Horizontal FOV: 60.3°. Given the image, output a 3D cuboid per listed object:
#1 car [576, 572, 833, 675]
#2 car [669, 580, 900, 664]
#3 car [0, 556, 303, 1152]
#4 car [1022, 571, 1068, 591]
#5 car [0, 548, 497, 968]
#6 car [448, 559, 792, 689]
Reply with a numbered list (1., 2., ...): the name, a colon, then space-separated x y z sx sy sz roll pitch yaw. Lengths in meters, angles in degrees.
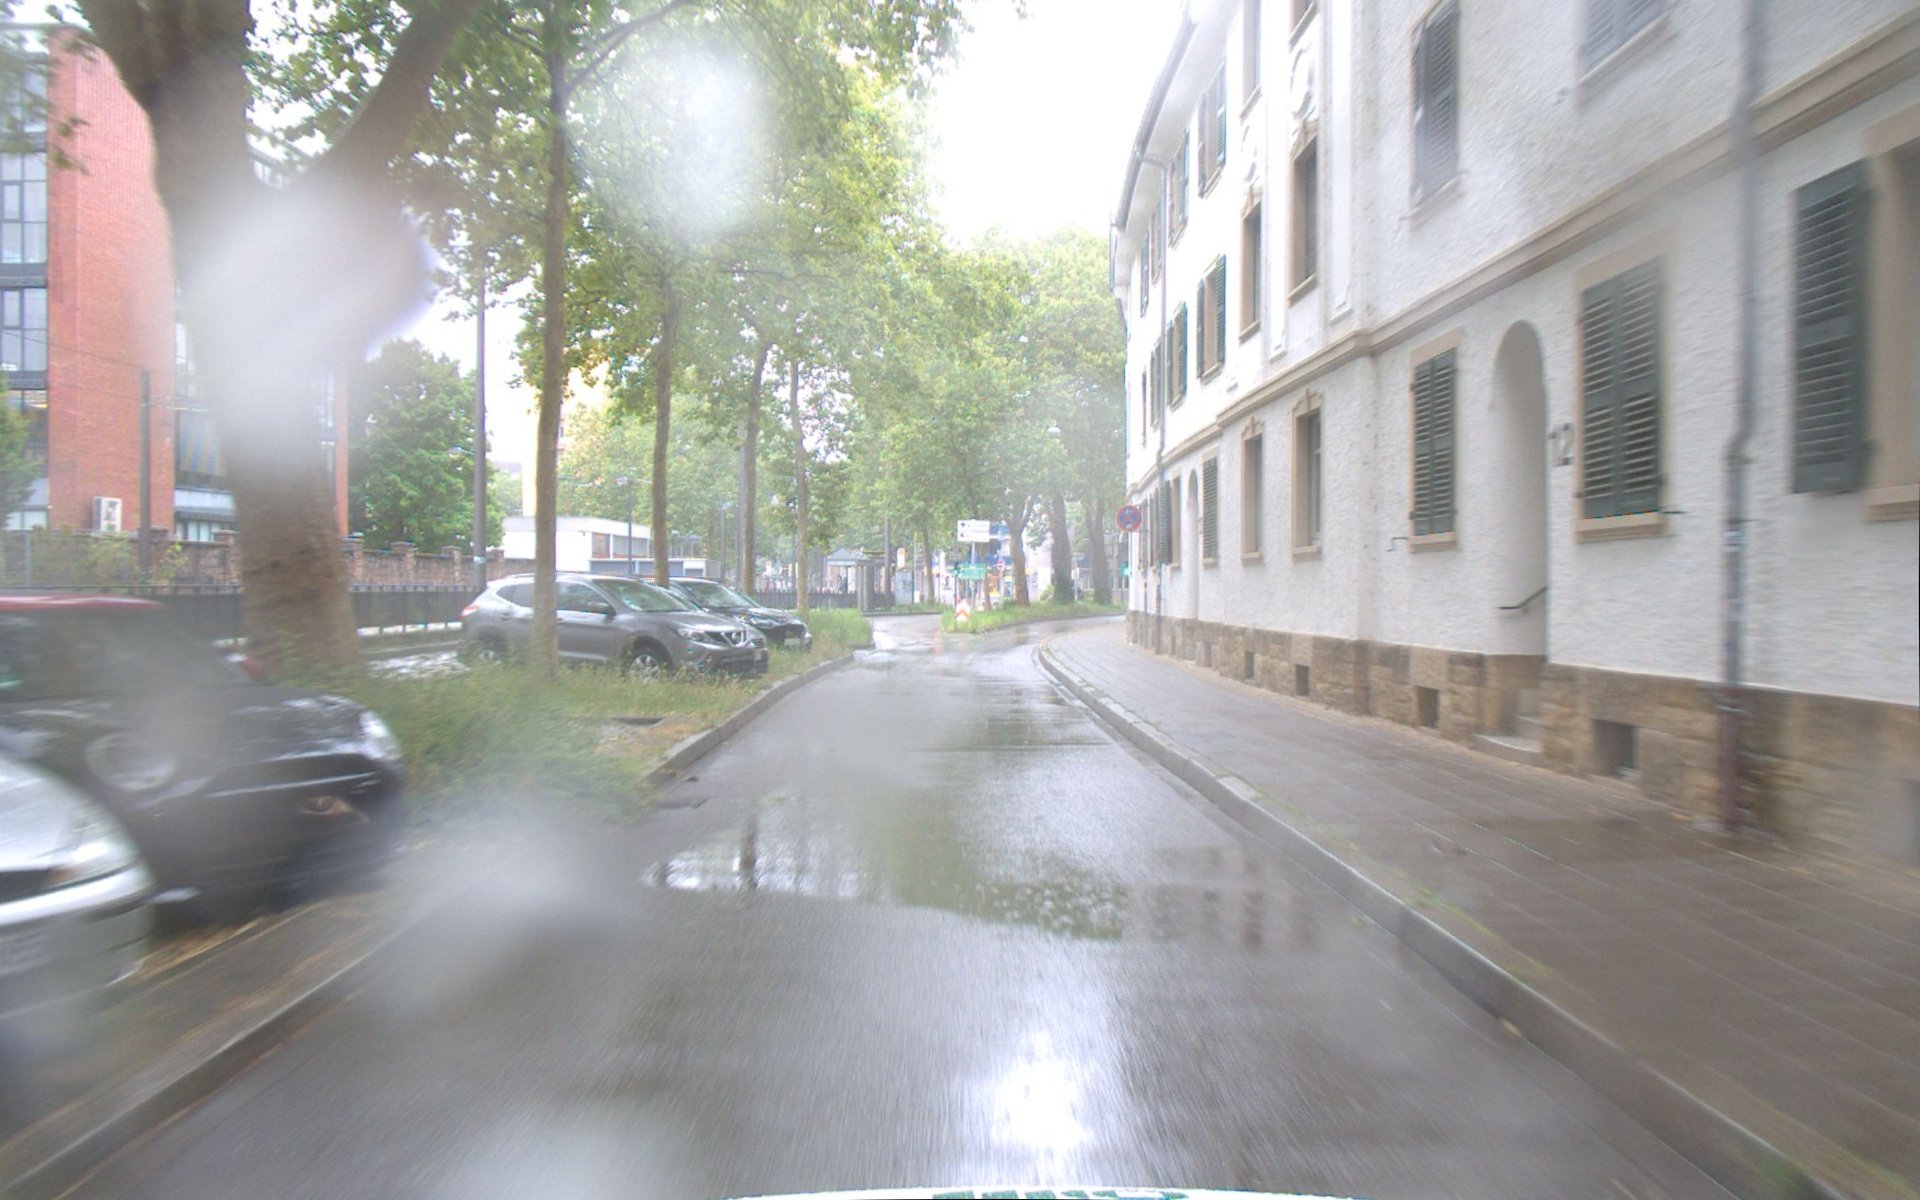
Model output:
1. car: -4.743 0.417 30.605 4.433 1.744 1.957 -1 2 30
2. car: -3.537 0.427 33.242 4.269 1.539 1.957 -1 2 30
3. car: -4.357 0.658 5.311 4.460 1.508 1.772 0 0 29
4. car: 7.711 -1.699 149.569 3.968 1.625 1.968 3 -1 -44
5. car: -4.168 0.591 7.789 3.734 1.547 1.719 0 0 30
6. car: -4.689 0.273 22.764 4.370 1.625 1.922 1 1 25
